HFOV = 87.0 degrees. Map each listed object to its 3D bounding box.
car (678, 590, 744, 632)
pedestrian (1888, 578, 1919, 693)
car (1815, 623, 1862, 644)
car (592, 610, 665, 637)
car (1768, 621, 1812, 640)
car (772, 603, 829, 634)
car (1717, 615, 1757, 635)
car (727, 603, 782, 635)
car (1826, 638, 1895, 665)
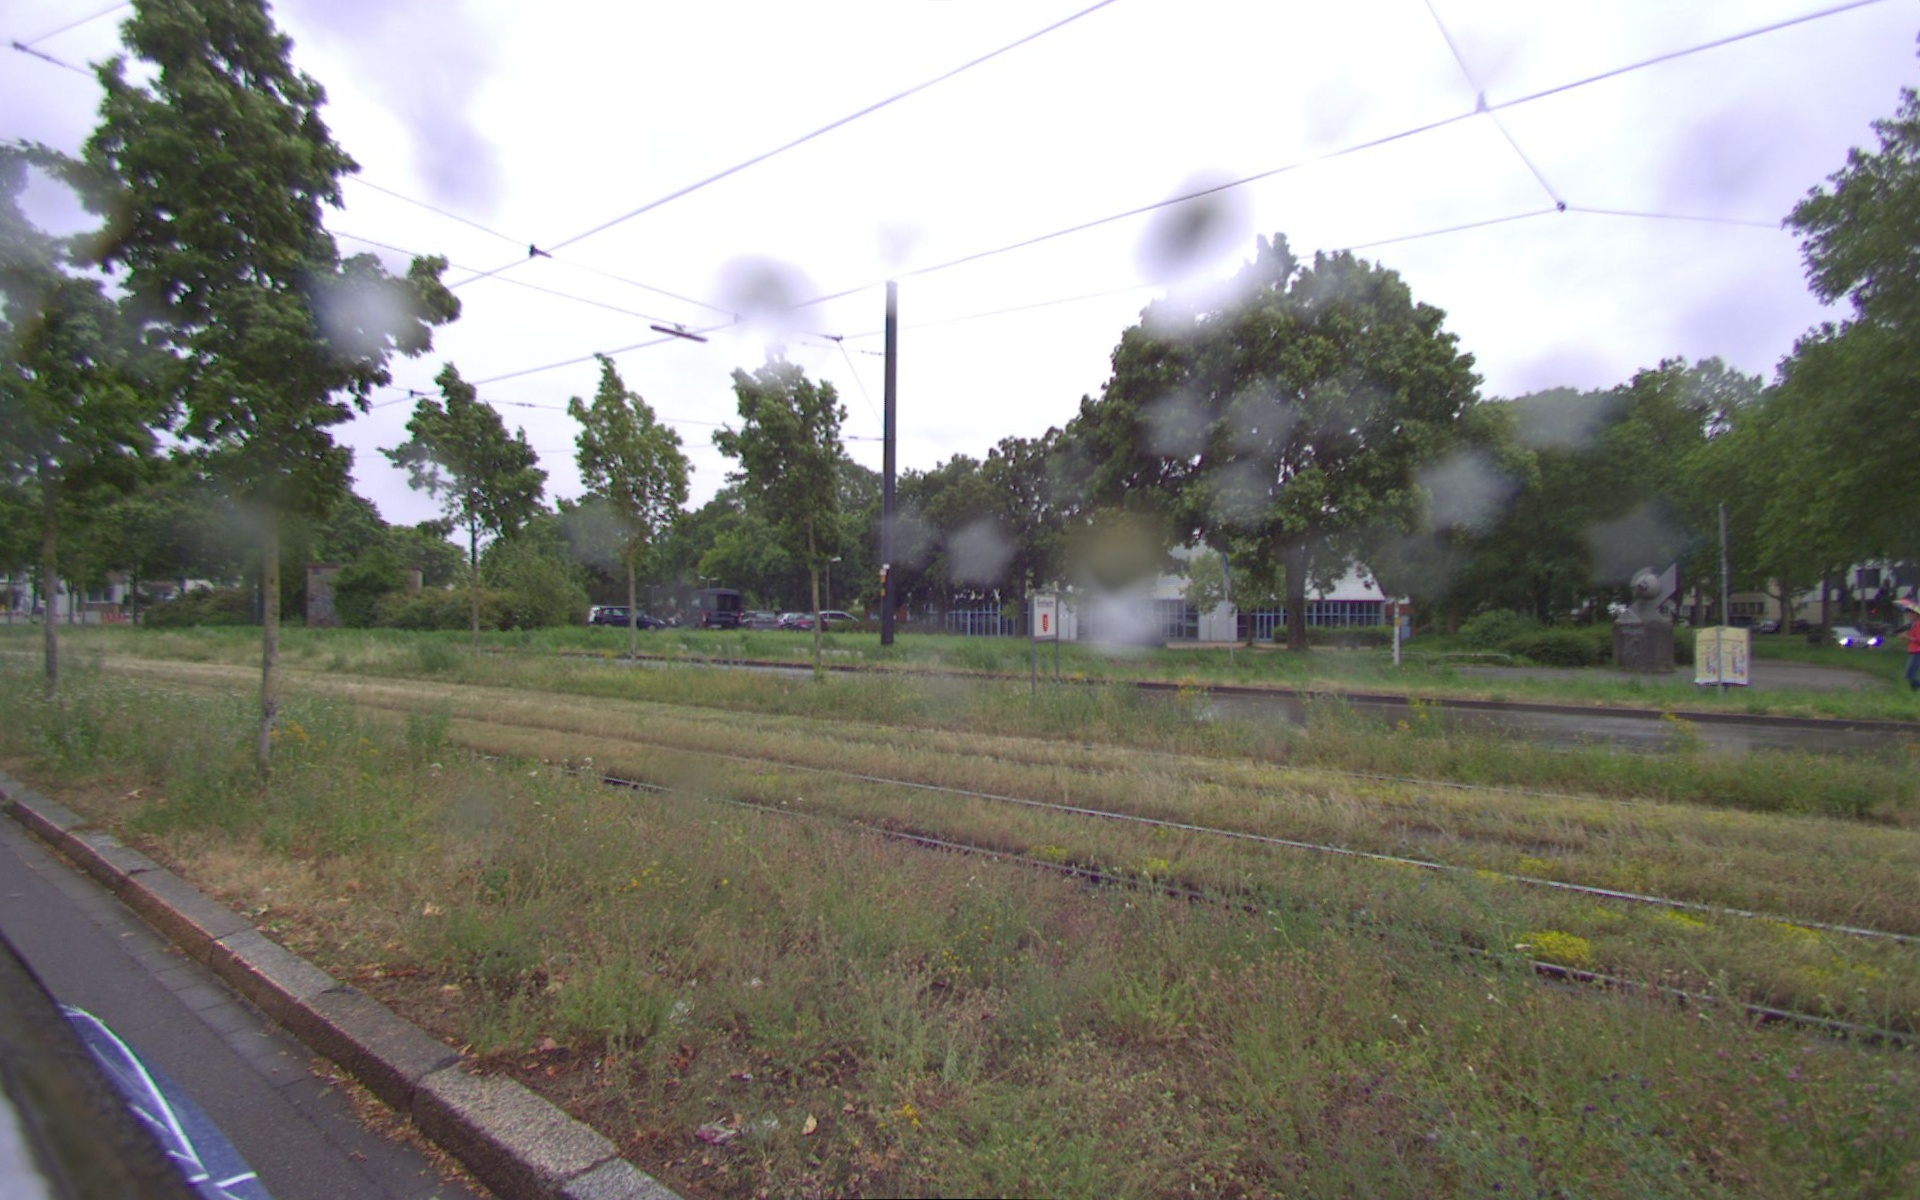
[{"bbox_3d":[-12.860,0.521,51.978,2.273,2.029,5.134,-1,0,-25],"label":"car"},{"bbox_3d":[17.133,0.616,17.847,1.006,2.005,0.942,-1,0,37],"label":"pedestrian"},{"bbox_3d":[81.620,3.103,94.110,1.986,1.796,3.972,-1,0,21],"label":"car"},{"bbox_3d":[-20.327,1.410,61.970,4.110,1.494,1.789,-1,0,-23],"label":"car"},{"bbox_3d":[82.941,3.008,101.207,1.982,1.796,3.979,-1,0,16],"label":"car"},{"bbox_3d":[-8.653,0.946,54.515,2.026,1.584,5.032,-1,0,-21],"label":"car"},{"bbox_3d":[86.278,2.795,112.458,2.108,2.104,3.982,-1,0,14],"label":"car"},{"bbox_3d":[-10.944,0.970,53.752,1.726,1.542,4.865,-1,0,-25],"label":"car"},{"bbox_3d":[49.678,2.841,55.924,1.797,1.417,4.416,-1,-3,28],"label":"car"}]
